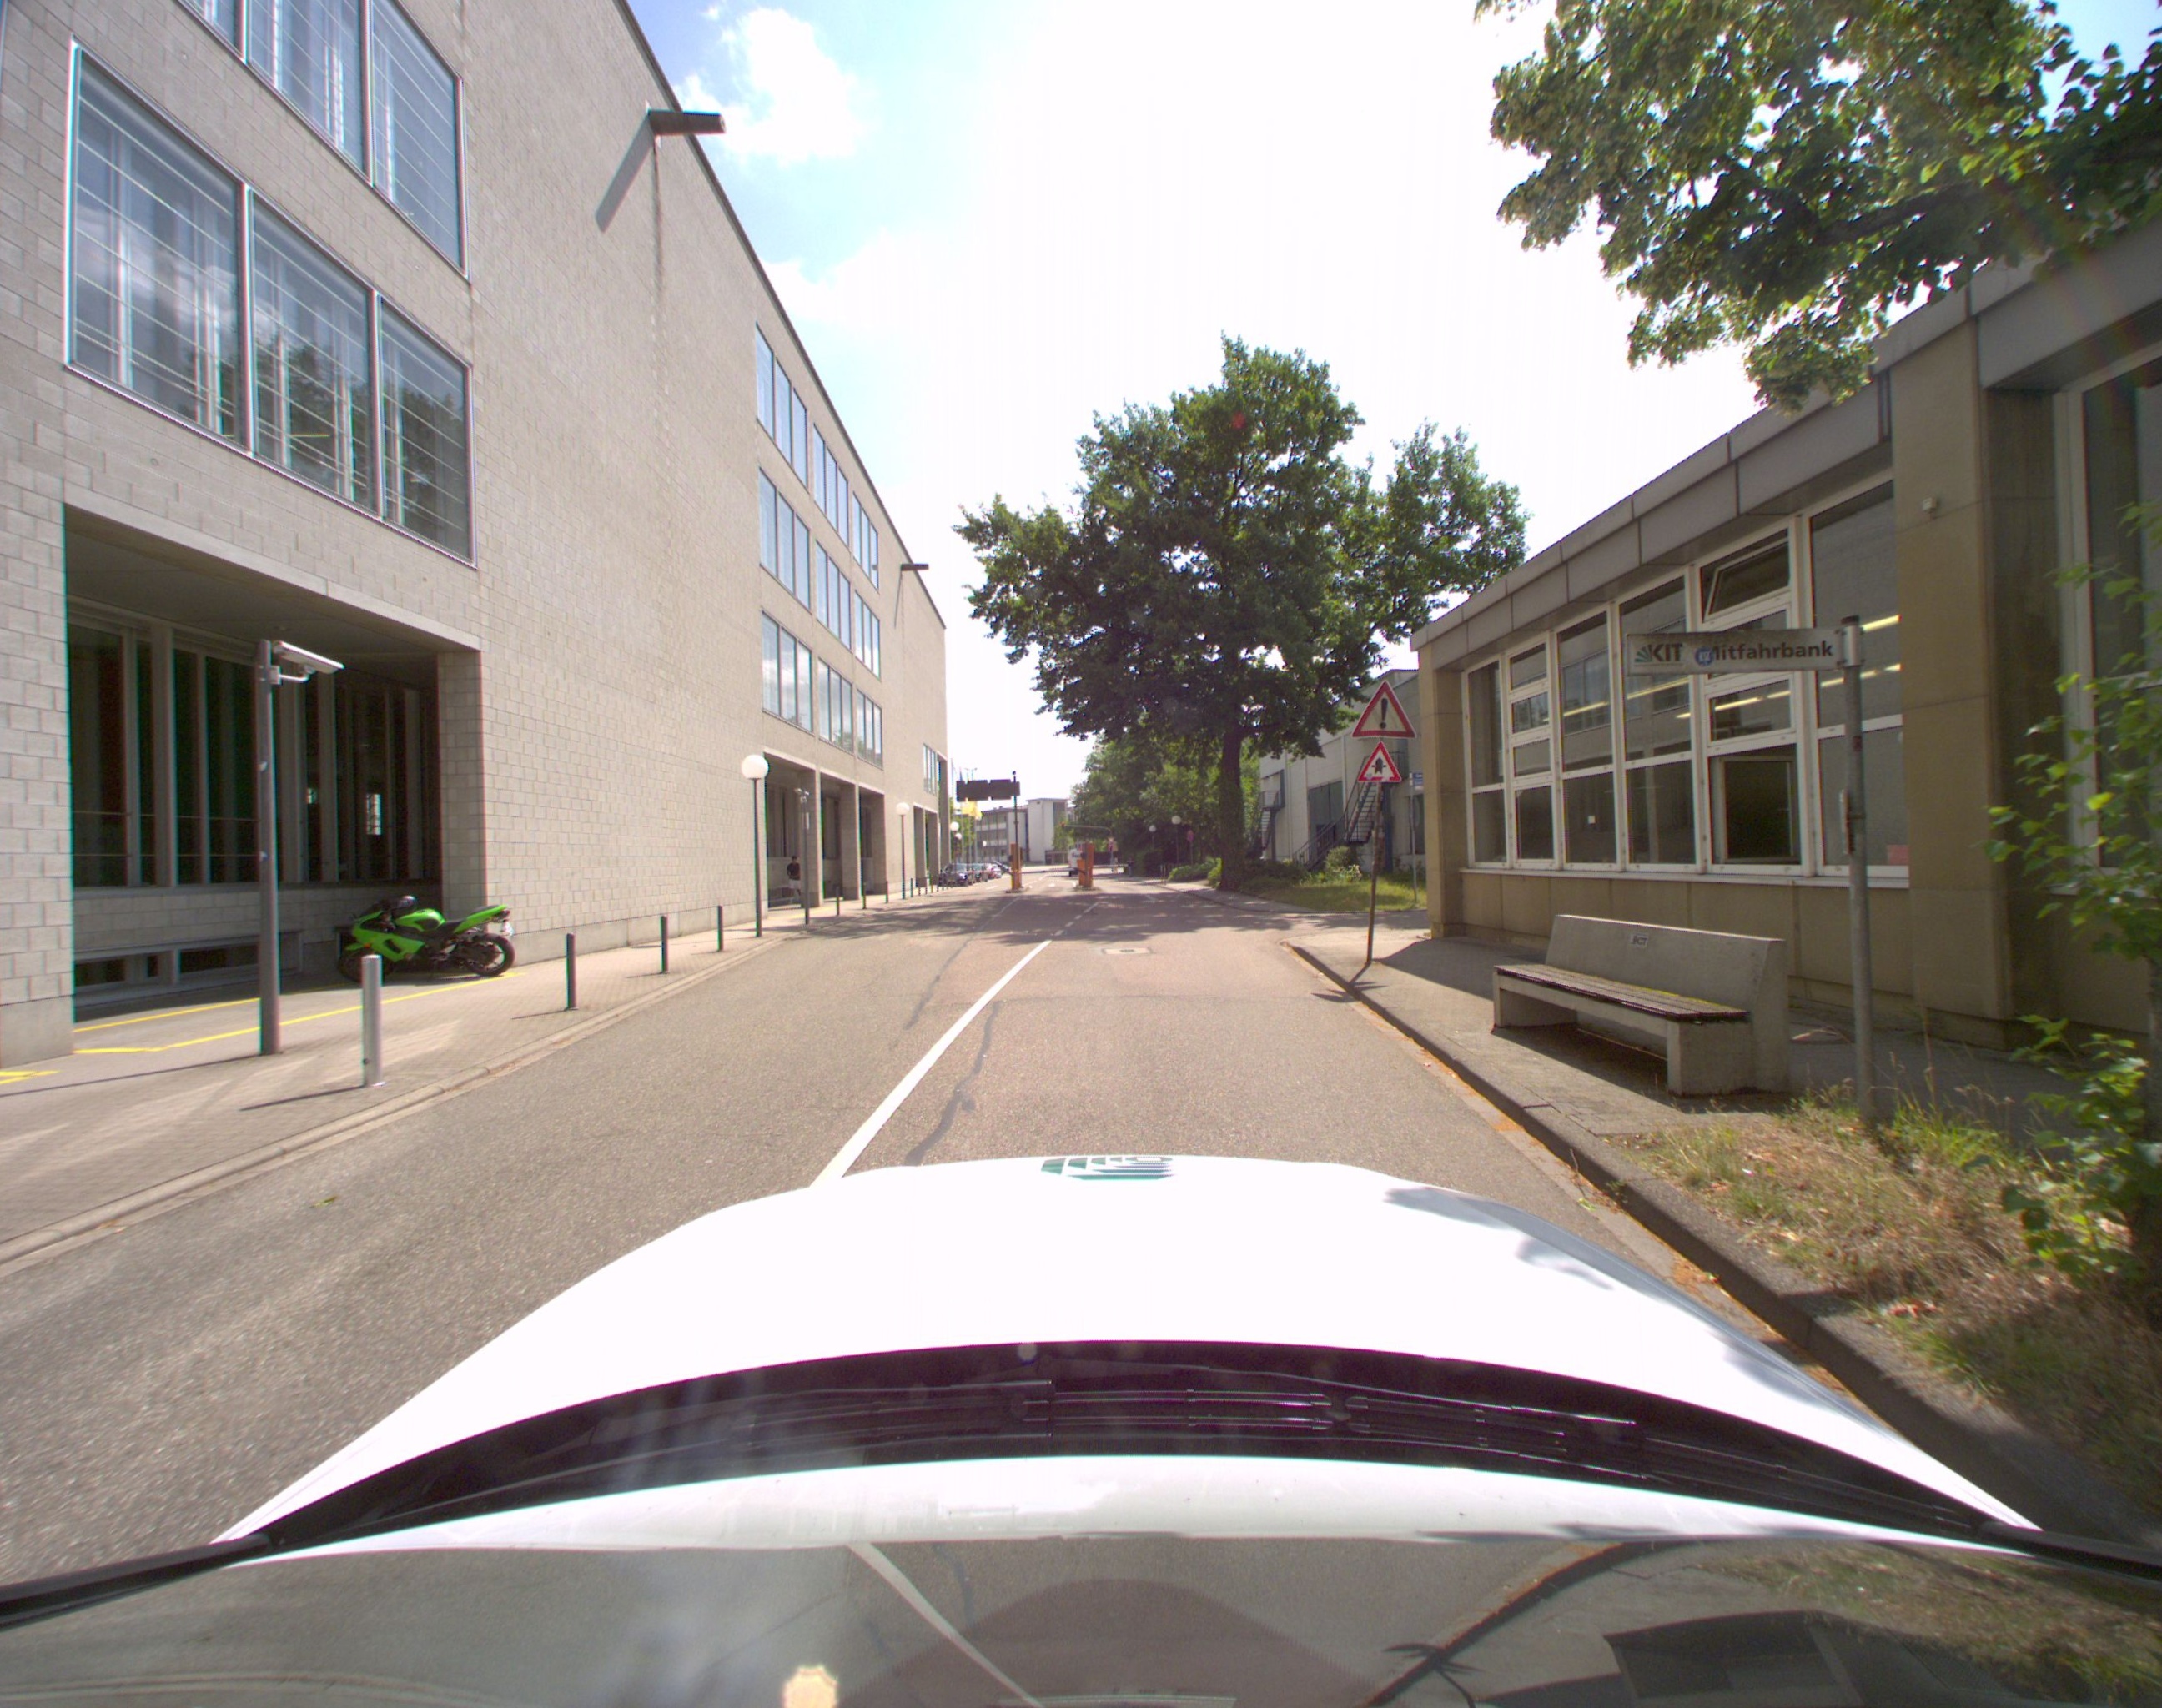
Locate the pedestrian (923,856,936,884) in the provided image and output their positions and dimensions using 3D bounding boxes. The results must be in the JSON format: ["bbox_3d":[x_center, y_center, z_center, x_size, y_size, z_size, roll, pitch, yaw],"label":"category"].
[{"bbox_3d":[-13.402,1.419,72.035,0.752,2.422,0.741,-2,-1,13],"label":"pedestrian"}]

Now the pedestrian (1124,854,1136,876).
[{"bbox_3d":[3.889,0.860,64.189,0.738,1.674,1.254,-1,-1,-5],"label":"pedestrian"}]

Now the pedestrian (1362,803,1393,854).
[{"bbox_3d":[12.223,-1.038,33.600,0.923,2.013,0.950,-2,0,2],"label":"pedestrian"}]

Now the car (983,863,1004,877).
[{"bbox_3d":[-8.625,1.566,80.710,1.671,1.395,4.660,0,0,-1],"label":"car"}]

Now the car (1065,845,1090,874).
[{"bbox_3d":[-0.365,0.533,76.229,2.090,2.566,5.597,-2,0,-2],"label":"car"}]

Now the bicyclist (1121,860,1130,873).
[{"bbox_3d":[5.334,1.481,98.320,0.899,1.495,0.656,0,-1,-42],"label":"bicyclist"}]

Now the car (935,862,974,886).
[{"bbox_3d":[-8.115,1.230,52.689,1.854,1.467,4.715,0,0,-2],"label":"car"}]

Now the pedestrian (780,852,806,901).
[{"bbox_3d":[-11.121,0.860,31.422,0.729,1.880,0.719,-1,-1,-1],"label":"pedestrian"}]

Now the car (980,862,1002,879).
[{"bbox_3d":[-8.367,1.520,75.765,1.671,1.467,3.909,0,0,-1],"label":"car"}]

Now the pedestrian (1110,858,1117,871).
[{"bbox_3d":[3.694,1.193,93.045,0.730,1.576,0.774,0,-1,-6],"label":"pedestrian"}]

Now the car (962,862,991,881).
[{"bbox_3d":[-8.265,1.374,64.538,1.855,1.378,5.010,0,0,-3],"label":"car"}]

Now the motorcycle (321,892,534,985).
[{"bbox_3d":[-8.984,1.140,11.295,2.167,1.138,0.772,-1,-1,-12],"label":"motorcycle"}]

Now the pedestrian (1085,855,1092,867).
[{"bbox_3d":[1.169,1.042,124.713,1.078,1.870,0.831,-2,0,-3],"label":"pedestrian"}]

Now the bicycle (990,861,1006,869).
[{"bbox_3d":[-16.073,2.107,158.085,2.980,1.363,1.104,0,-1,-39],"label":"bicycle"}]

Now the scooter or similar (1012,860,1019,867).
[{"bbox_3d":[-10.212,1.478,126.143,0.717,1.178,2.714,-1,0,-12],"label":"scooter or similar"}]

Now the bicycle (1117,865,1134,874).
[{"bbox_3d":[5.388,1.901,98.333,2.119,0.995,0.671,0,-1,-42],"label":"bicycle"}]
